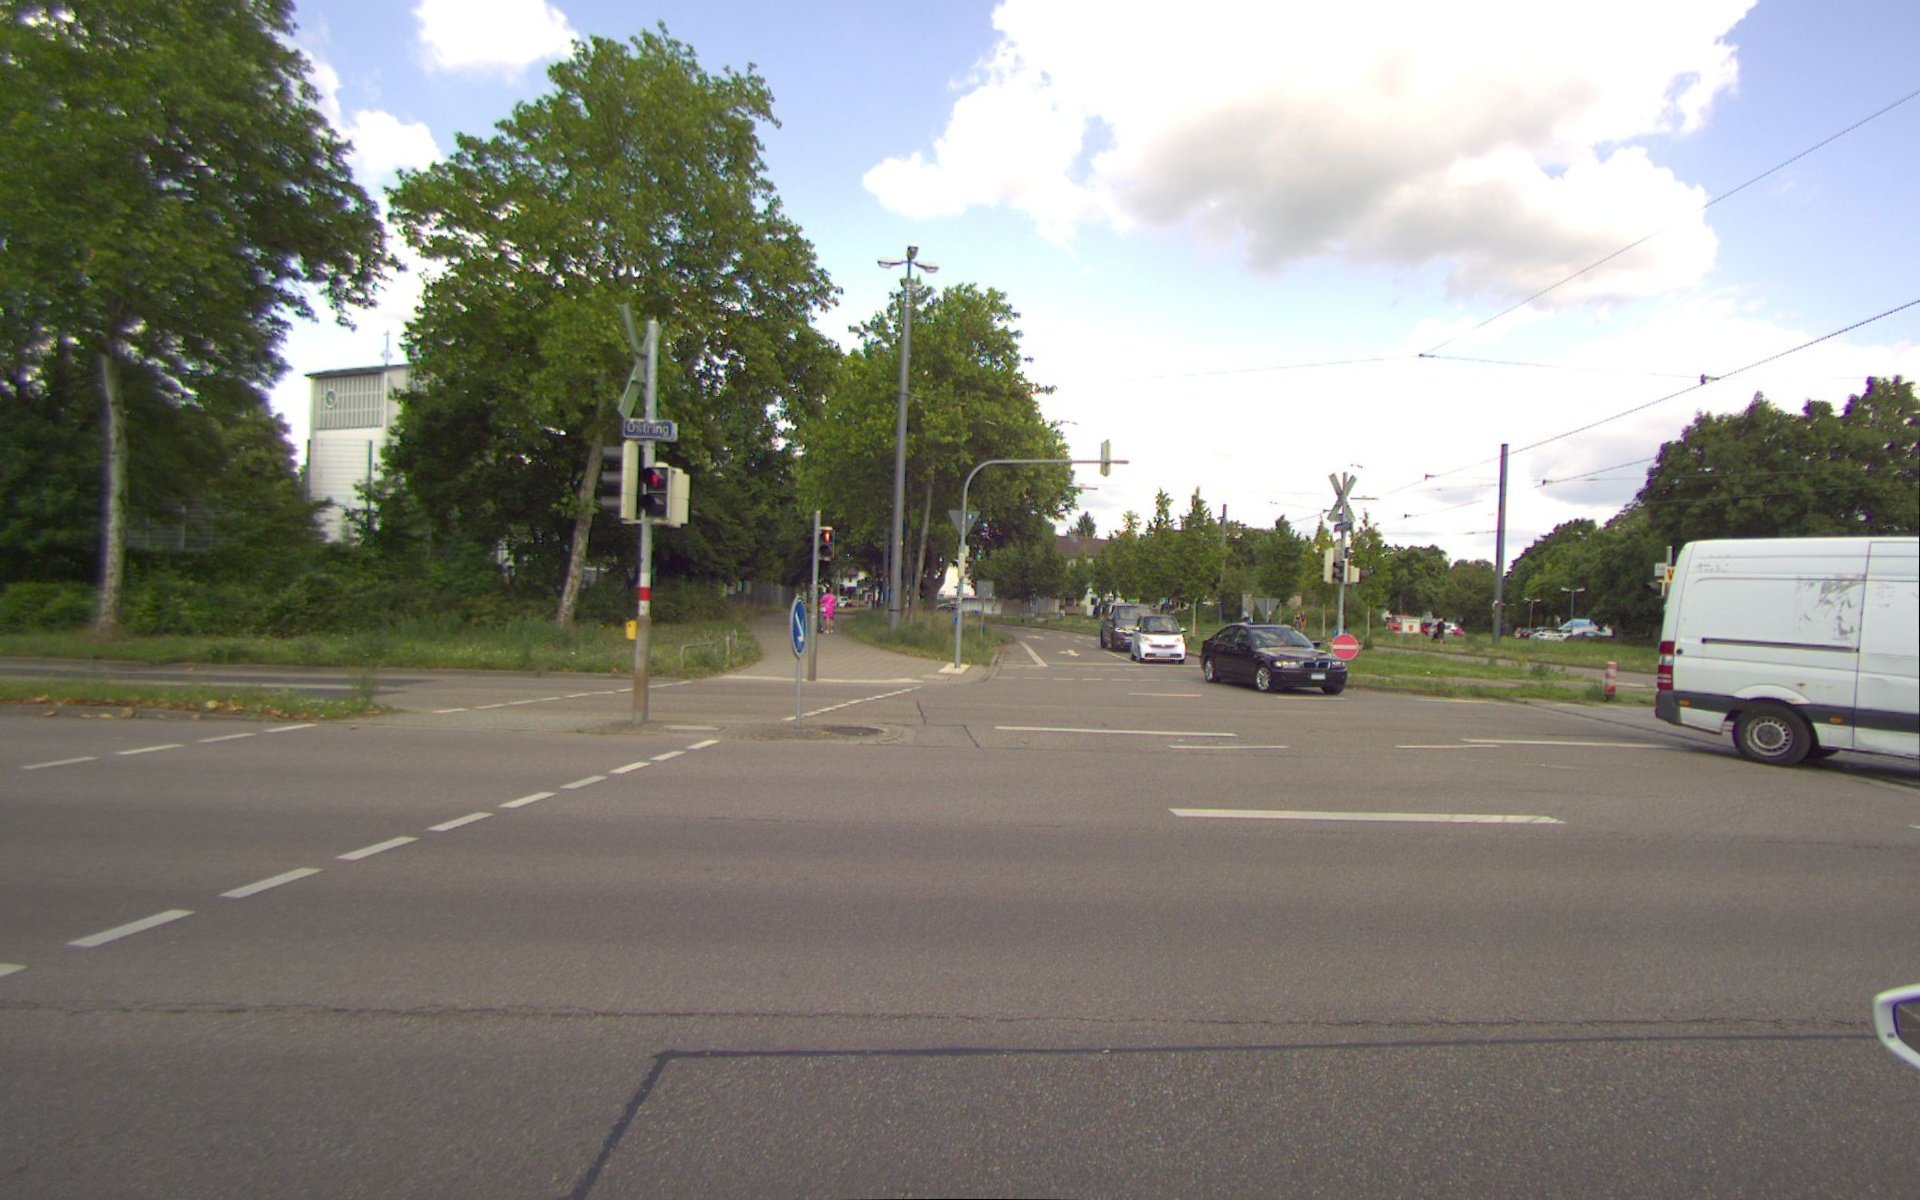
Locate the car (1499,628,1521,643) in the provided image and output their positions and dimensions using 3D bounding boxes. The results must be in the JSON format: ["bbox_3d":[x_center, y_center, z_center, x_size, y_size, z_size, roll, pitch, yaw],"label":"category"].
[{"bbox_3d":[67.338,4.346,123.015,1.962,1.662,4.388,2,0,24],"label":"car"}]

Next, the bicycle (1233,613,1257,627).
[{"bbox_3d":[23.797,1.657,83.898,0.937,1.054,1.974,2,0,-20],"label":"bicycle"}]

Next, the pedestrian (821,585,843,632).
[{"bbox_3d":[-4.491,0.290,35.269,0.620,1.641,0.611,1,0,7],"label":"pedestrian"}]

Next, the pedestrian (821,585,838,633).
[{"bbox_3d":[-4.480,0.304,34.601,0.413,1.641,0.596,1,0,7],"label":"pedestrian"}]

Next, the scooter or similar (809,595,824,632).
[{"bbox_3d":[-4.935,0.457,34.559,0.315,1.248,0.776,0,0,9],"label":"scooter or similar"}]

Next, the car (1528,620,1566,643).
[{"bbox_3d":[44.285,2.351,75.852,1.962,1.662,4.388,2,0,24],"label":"car"}]

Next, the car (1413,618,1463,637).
[{"bbox_3d":[42.356,2.425,89.092,3.924,1.550,1.999,2,0,24],"label":"car"}]

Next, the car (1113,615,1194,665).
[{"bbox_3d":[6.371,1.282,33.587,1.776,1.450,4.382,2,0,-1],"label":"car"}]

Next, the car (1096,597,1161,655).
[{"bbox_3d":[6.873,1.017,41.386,1.819,2.184,4.382,2,0,-1],"label":"car"}]

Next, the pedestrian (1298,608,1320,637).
[{"bbox_3d":[25.899,1.670,74.527,1.086,2.040,1.175,2,0,-9],"label":"pedestrian"}]

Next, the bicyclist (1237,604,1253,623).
[{"bbox_3d":[23.795,1.136,83.966,0.949,1.509,0.832,2,0,-22],"label":"bicyclist"}]

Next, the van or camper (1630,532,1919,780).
[{"bbox_3d":[10.883,0.613,10.631,1.964,2.558,5.974,2,0,-36],"label":"van or camper"}]

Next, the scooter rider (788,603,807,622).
[{"bbox_3d":[-6.262,0.491,38.824,0.600,0.738,0.859,0,0,-1],"label":"scooter rider"}]

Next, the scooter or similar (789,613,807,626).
[{"bbox_3d":[-6.257,0.746,38.828,0.599,0.518,0.857,0,0,-1],"label":"scooter or similar"}]

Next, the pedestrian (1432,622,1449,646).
[{"bbox_3d":[28.502,2.010,59.569,0.638,1.372,0.752,0,0,-1],"label":"pedestrian"}]

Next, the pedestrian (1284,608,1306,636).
[{"bbox_3d":[24.757,1.613,74.327,1.086,2.040,1.175,2,0,-9],"label":"pedestrian"}]

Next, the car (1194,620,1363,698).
[{"bbox_3d":[6.735,1.211,21.794,1.778,1.450,4.464,2,-2,-7],"label":"car"}]

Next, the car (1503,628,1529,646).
[{"bbox_3d":[57.839,3.841,104.542,1.962,1.662,4.388,2,0,24],"label":"car"}]
